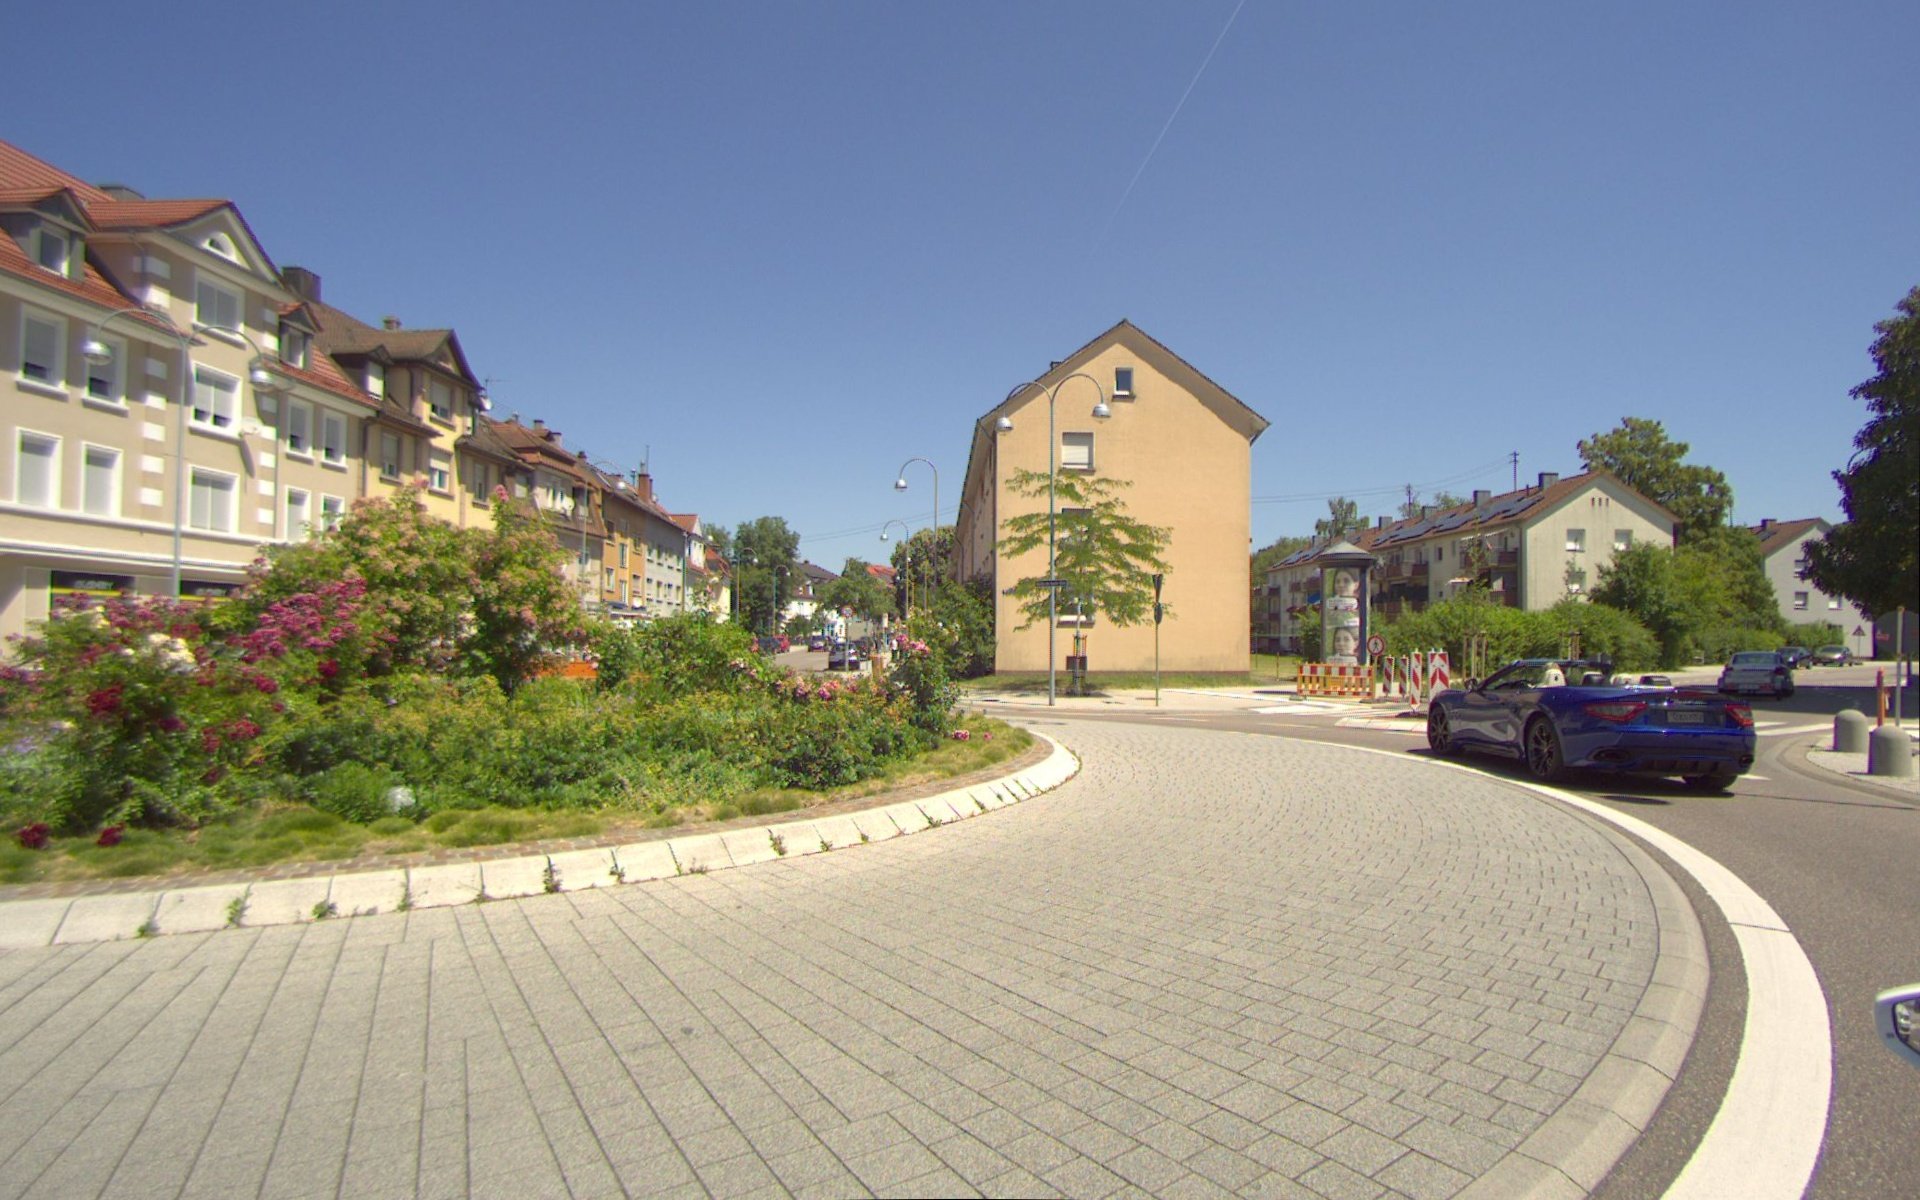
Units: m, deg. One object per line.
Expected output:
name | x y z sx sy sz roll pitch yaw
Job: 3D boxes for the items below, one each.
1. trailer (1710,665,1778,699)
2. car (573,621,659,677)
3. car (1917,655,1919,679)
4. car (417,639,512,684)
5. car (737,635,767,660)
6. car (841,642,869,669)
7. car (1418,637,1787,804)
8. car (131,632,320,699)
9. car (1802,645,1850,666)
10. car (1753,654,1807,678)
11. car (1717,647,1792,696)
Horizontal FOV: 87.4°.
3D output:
trailer | 22.850 2.372 29.267 1.432 0.884 2.531 -3 -3 40
car | -17.216 2.458 50.721 2.109 2.566 6.239 2 -2 0
car | 61.542 4.147 62.798 3.674 1.455 1.728 1 -4 -36
car | -19.672 2.424 40.097 1.572 1.638 4.093 2 -2 2
car | -16.992 3.883 82.243 2.035 2.040 3.998 0 -3 -6
car | -7.488 3.959 72.081 1.783 1.817 3.999 2 -3 -3
car | 7.244 1.321 12.005 1.839 1.549 4.511 1 -4 5
car | -20.616 1.809 28.503 1.746 1.708 4.696 0 -2 2
car | 62.375 4.002 72.345 3.673 1.455 1.728 1 -4 -35
car | 53.156 4.269 65.068 3.673 1.455 1.728 1 -4 -35
car | 25.584 2.271 32.304 1.719 1.455 3.692 -4 -4 40
